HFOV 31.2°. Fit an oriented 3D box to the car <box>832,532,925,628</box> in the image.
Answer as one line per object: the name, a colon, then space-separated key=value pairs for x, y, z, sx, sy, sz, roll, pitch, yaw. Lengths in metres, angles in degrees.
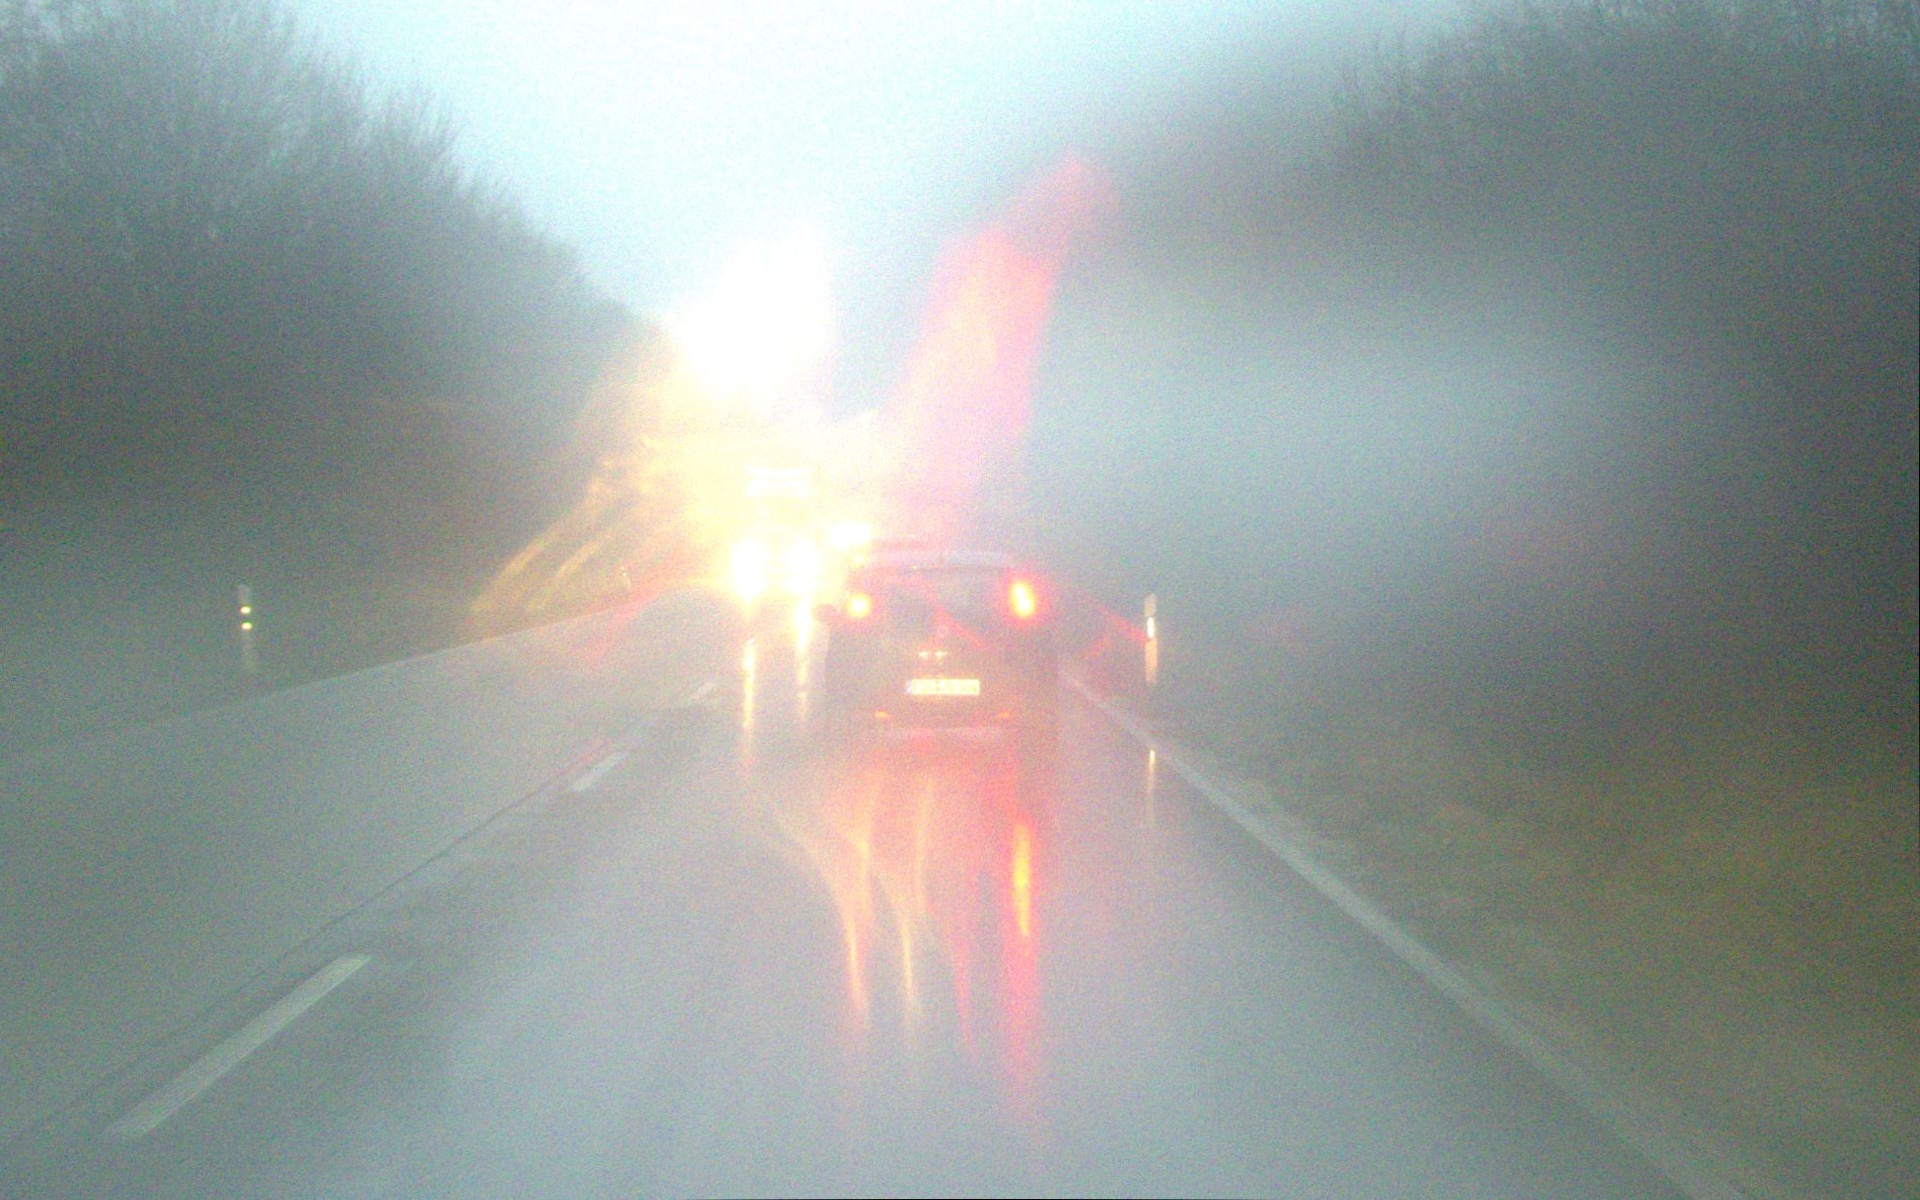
car: x=-1.563 y=-0.403 z=66.020 sx=1.733 sy=1.773 sz=4.000 roll=0 pitch=1 yaw=-1

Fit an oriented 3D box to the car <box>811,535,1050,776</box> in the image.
car: x=-0.228 y=0.357 z=25.648 sx=1.648 sy=1.666 sz=3.514 roll=0 pitch=1 yaw=-1
